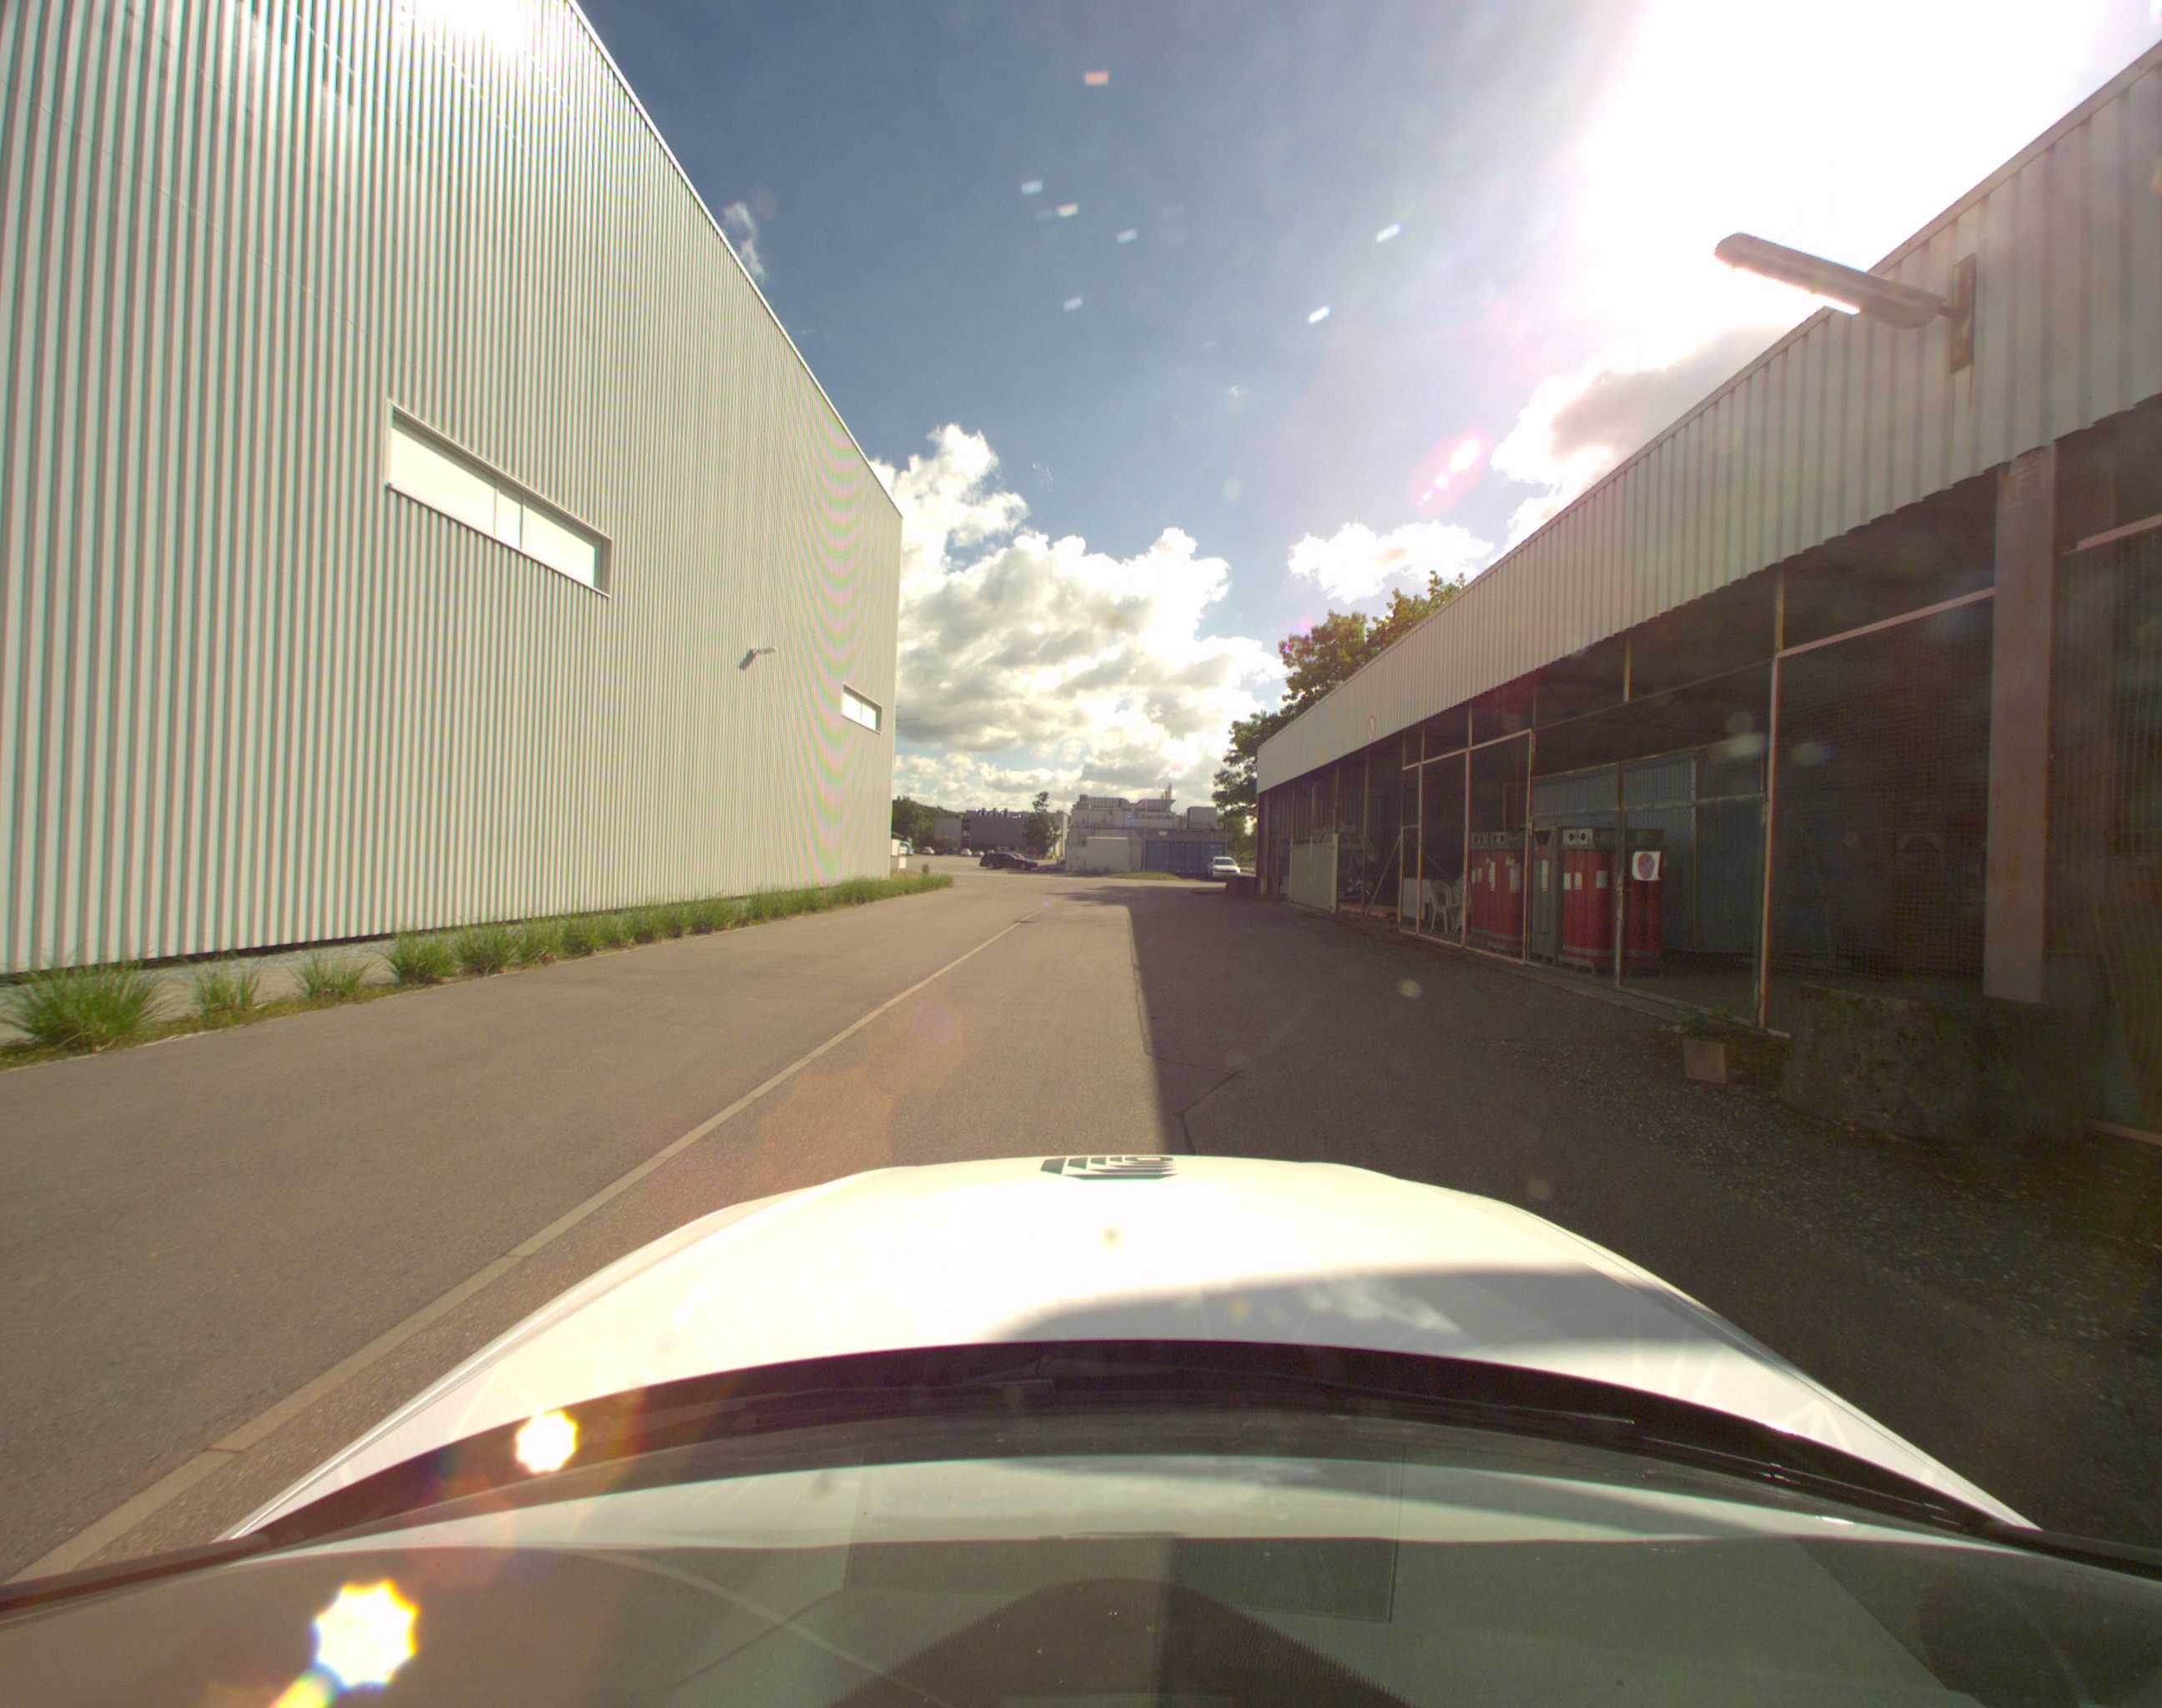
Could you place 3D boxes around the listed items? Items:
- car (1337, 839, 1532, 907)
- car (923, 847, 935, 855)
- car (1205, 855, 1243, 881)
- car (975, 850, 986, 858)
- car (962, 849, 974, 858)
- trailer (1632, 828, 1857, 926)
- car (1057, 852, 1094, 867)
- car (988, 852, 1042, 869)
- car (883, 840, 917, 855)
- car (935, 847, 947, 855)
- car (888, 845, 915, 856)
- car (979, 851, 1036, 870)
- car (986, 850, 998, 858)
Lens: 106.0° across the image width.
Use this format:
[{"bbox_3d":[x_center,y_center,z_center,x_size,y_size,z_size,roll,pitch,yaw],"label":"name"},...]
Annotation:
[{"bbox_3d":[11.024,0.586,25.667,5.153,1.918,2.276,1,-1,-3],"label":"car"},{"bbox_3d":[-31.098,-0.607,167.021,1.842,1.668,4.129,0,0,-2],"label":"car"},{"bbox_3d":[9.844,0.938,56.199,1.973,1.593,4.343,2,1,2],"label":"car"},{"bbox_3d":[-20.554,-0.019,166.665,1.871,1.537,4.035,0,0,0],"label":"car"},{"bbox_3d":[-23.104,-0.087,166.897,1.871,1.689,4.035,0,0,0],"label":"car"},{"bbox_3d":[15.685,0.505,19.468,3.389,2.138,2.467,1,0,4],"label":"trailer"},{"bbox_3d":[-0.670,0.688,96.914,4.262,1.569,1.988,1,-2,2],"label":"car"},{"bbox_3d":[-5.822,0.588,72.561,4.511,1.443,1.905,1,-2,2],"label":"car"},{"bbox_3d":[-31.855,-1.061,143.506,5.231,2.442,2.053,2,0,6],"label":"car"},{"bbox_3d":[-28.660,-0.549,166.827,1.873,1.537,4.032,0,0,-2],"label":"car"},{"bbox_3d":[-31.023,-0.593,140.533,4.089,1.630,1.811,2,0,6],"label":"car"},{"bbox_3d":[-6.205,0.578,69.311,4.511,1.443,1.988,1,-2,2],"label":"car"},{"bbox_3d":[-18.226,-0.024,166.815,1.871,1.537,4.035,0,0,0],"label":"car"}]
